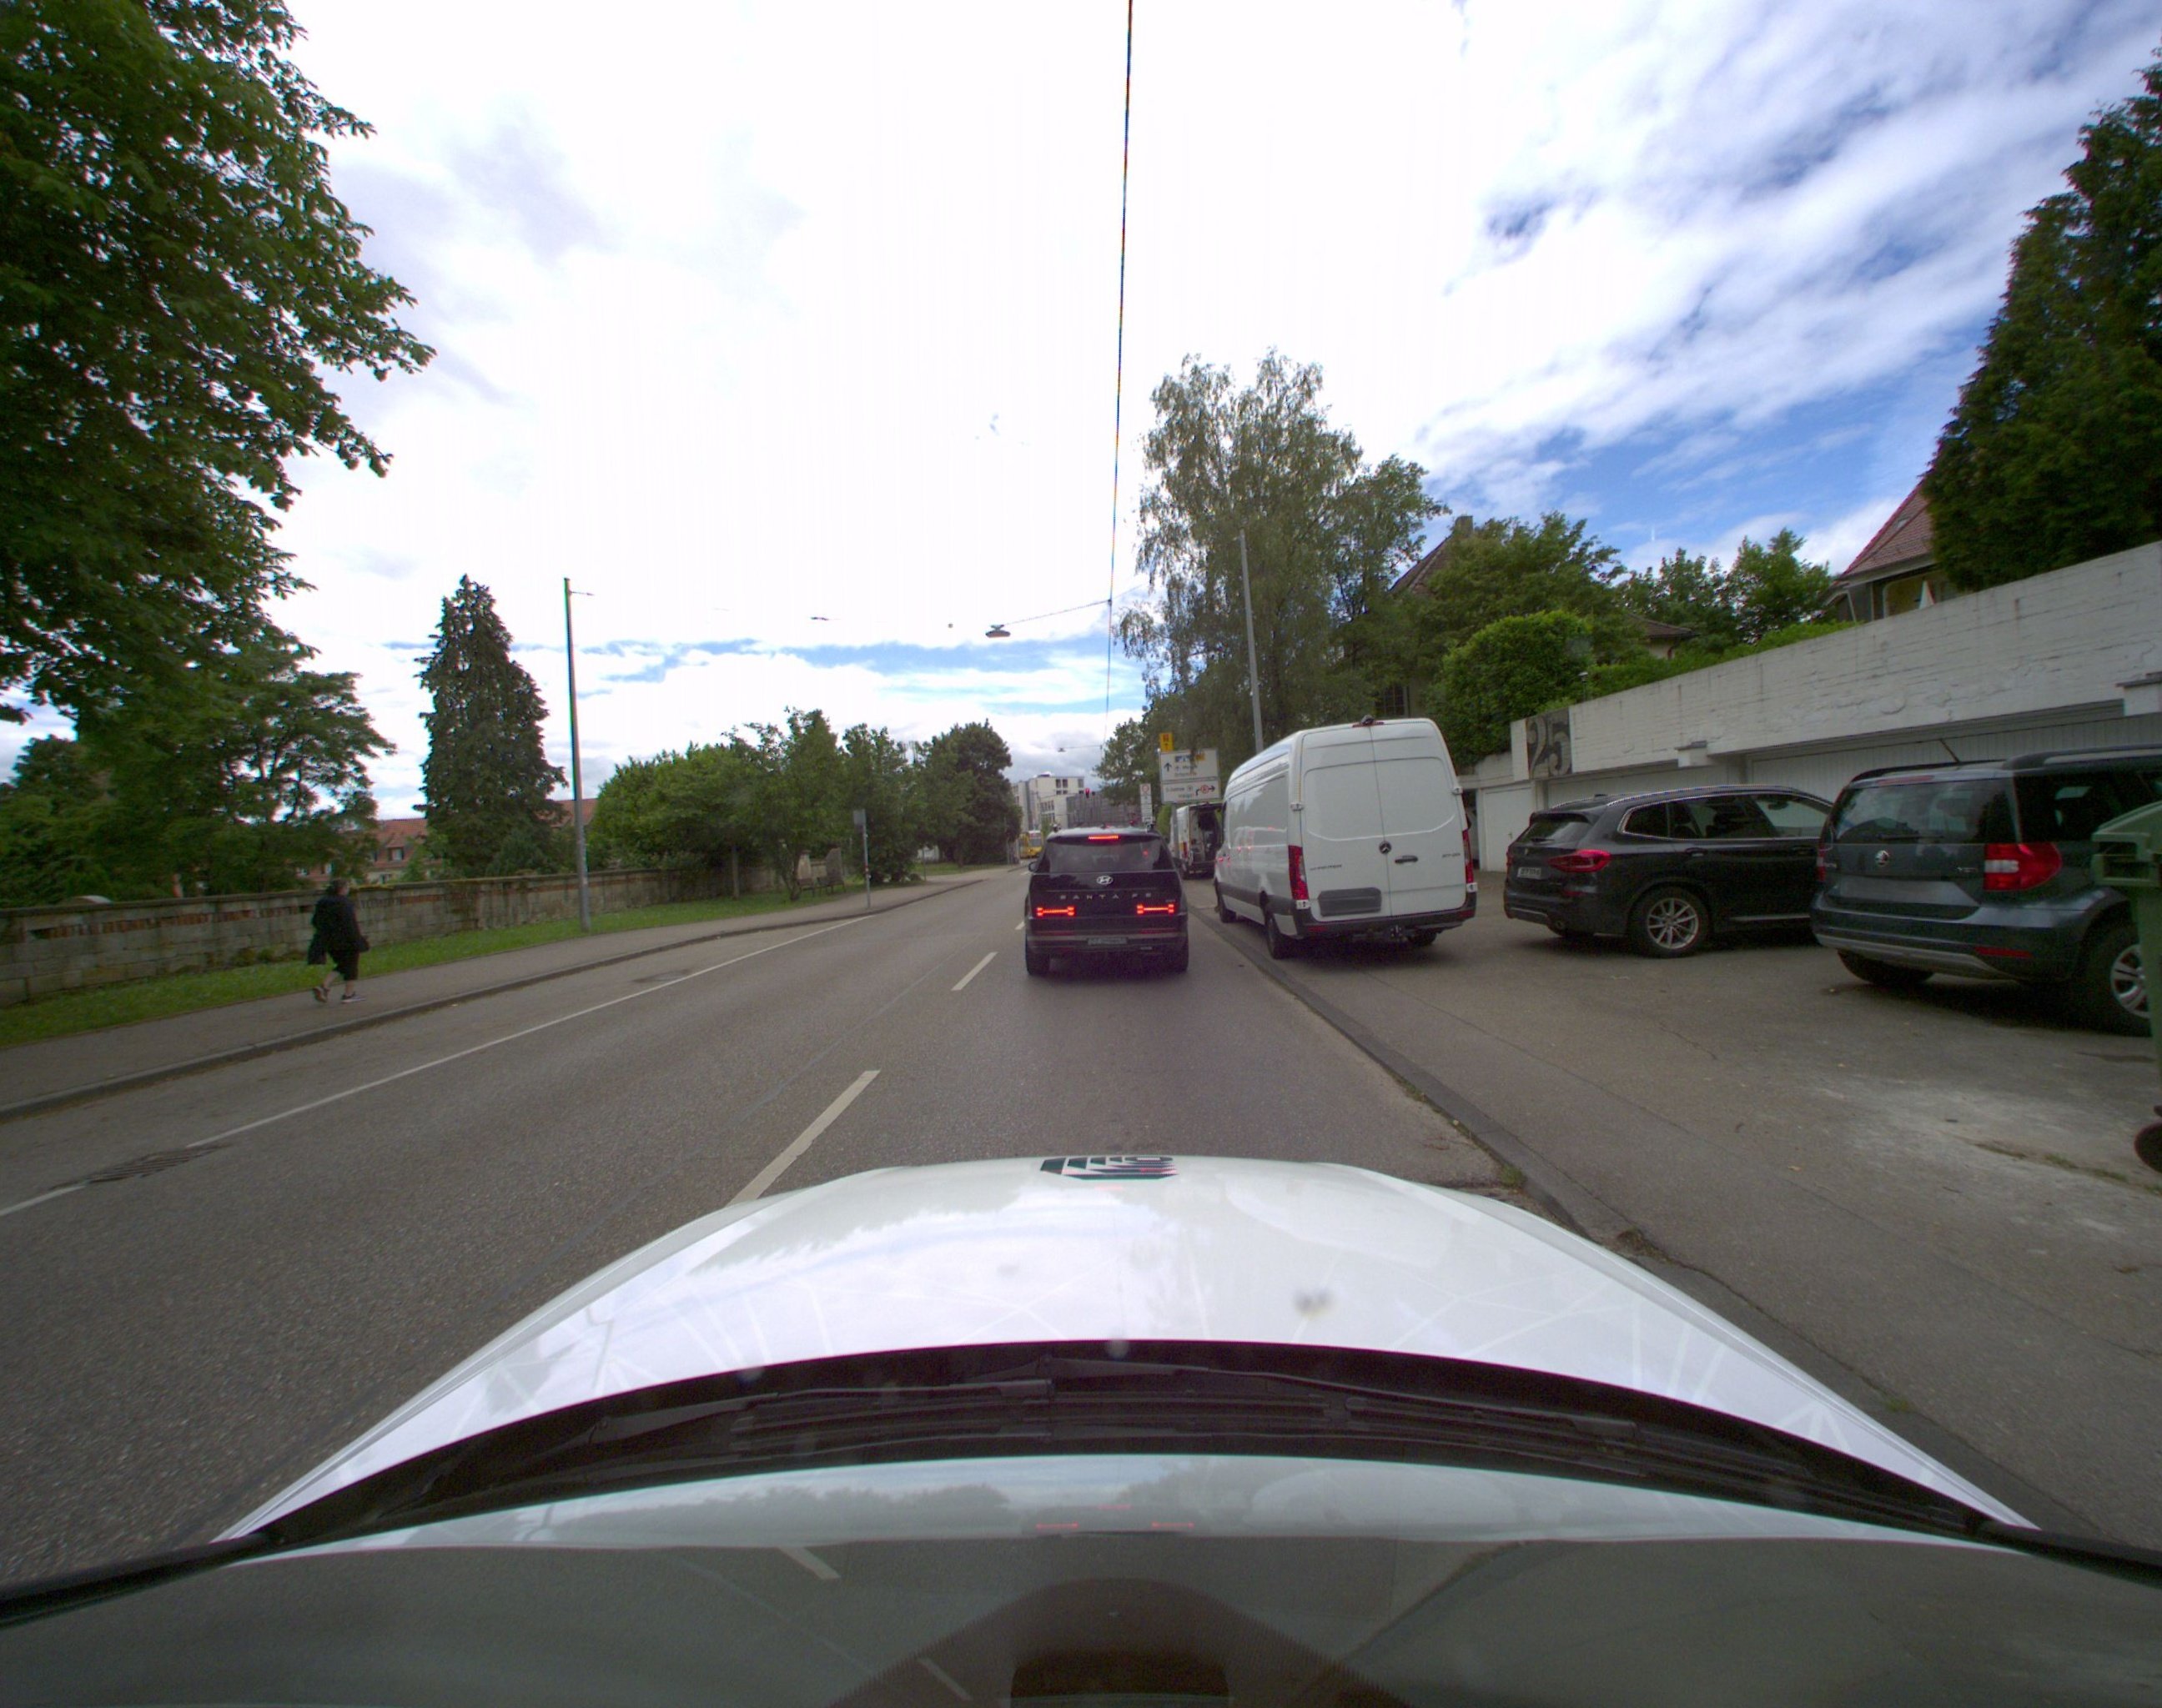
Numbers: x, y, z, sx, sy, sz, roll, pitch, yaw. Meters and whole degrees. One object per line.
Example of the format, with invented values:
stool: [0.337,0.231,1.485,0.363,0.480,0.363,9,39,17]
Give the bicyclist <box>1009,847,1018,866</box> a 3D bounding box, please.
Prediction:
bicyclist: [-6.058,0.207,73.387,0.676,1.659,0.855,-2,-1,-12]

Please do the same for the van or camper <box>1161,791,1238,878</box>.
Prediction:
van or camper: [4.299,-0.689,30.380,1.957,2.796,5.288,-5,1,1]

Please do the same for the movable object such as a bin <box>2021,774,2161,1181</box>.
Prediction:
movable object such as a bin: [4.459,0.401,2.672,1.295,1.450,1.181,-5,0,1]

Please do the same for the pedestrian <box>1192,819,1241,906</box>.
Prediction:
pedestrian: [2.856,0.182,17.143,0.620,1.743,0.601,-6,0,-22]

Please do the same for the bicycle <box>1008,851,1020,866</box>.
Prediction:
bicycle: [-6.056,0.388,73.354,0.676,1.279,2.490,-2,-1,-12]

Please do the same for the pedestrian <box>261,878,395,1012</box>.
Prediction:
pedestrian: [-9.650,1.137,10.478,0.746,1.578,0.967,-2,1,1]

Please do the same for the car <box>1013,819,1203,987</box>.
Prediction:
car: [0.321,0.493,10.654,1.957,1.711,4.001,-2,1,1]

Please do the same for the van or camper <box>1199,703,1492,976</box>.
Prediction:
van or camper: [3.189,-0.191,11.566,1.957,2.627,6.360,-6,1,1]

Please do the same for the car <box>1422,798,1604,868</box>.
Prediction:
car: [11.832,-0.570,22.520,3.975,1.711,1.969,-2,1,-1]

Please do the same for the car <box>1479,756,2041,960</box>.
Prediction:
car: [6.950,0.038,8.748,4.376,1.652,1.831,-4,1,2]

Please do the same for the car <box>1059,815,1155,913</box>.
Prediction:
car: [0.581,0.193,19.233,1.957,2.001,4.001,-2,1,1]

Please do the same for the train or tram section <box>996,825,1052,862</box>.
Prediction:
train or tram section: [-8.456,-1.336,117.082,3.203,4.523,18.560,-2,-1,-19]

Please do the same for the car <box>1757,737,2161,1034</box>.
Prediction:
car: [7.271,0.068,5.481,3.780,1.652,1.832,-4,1,5]
